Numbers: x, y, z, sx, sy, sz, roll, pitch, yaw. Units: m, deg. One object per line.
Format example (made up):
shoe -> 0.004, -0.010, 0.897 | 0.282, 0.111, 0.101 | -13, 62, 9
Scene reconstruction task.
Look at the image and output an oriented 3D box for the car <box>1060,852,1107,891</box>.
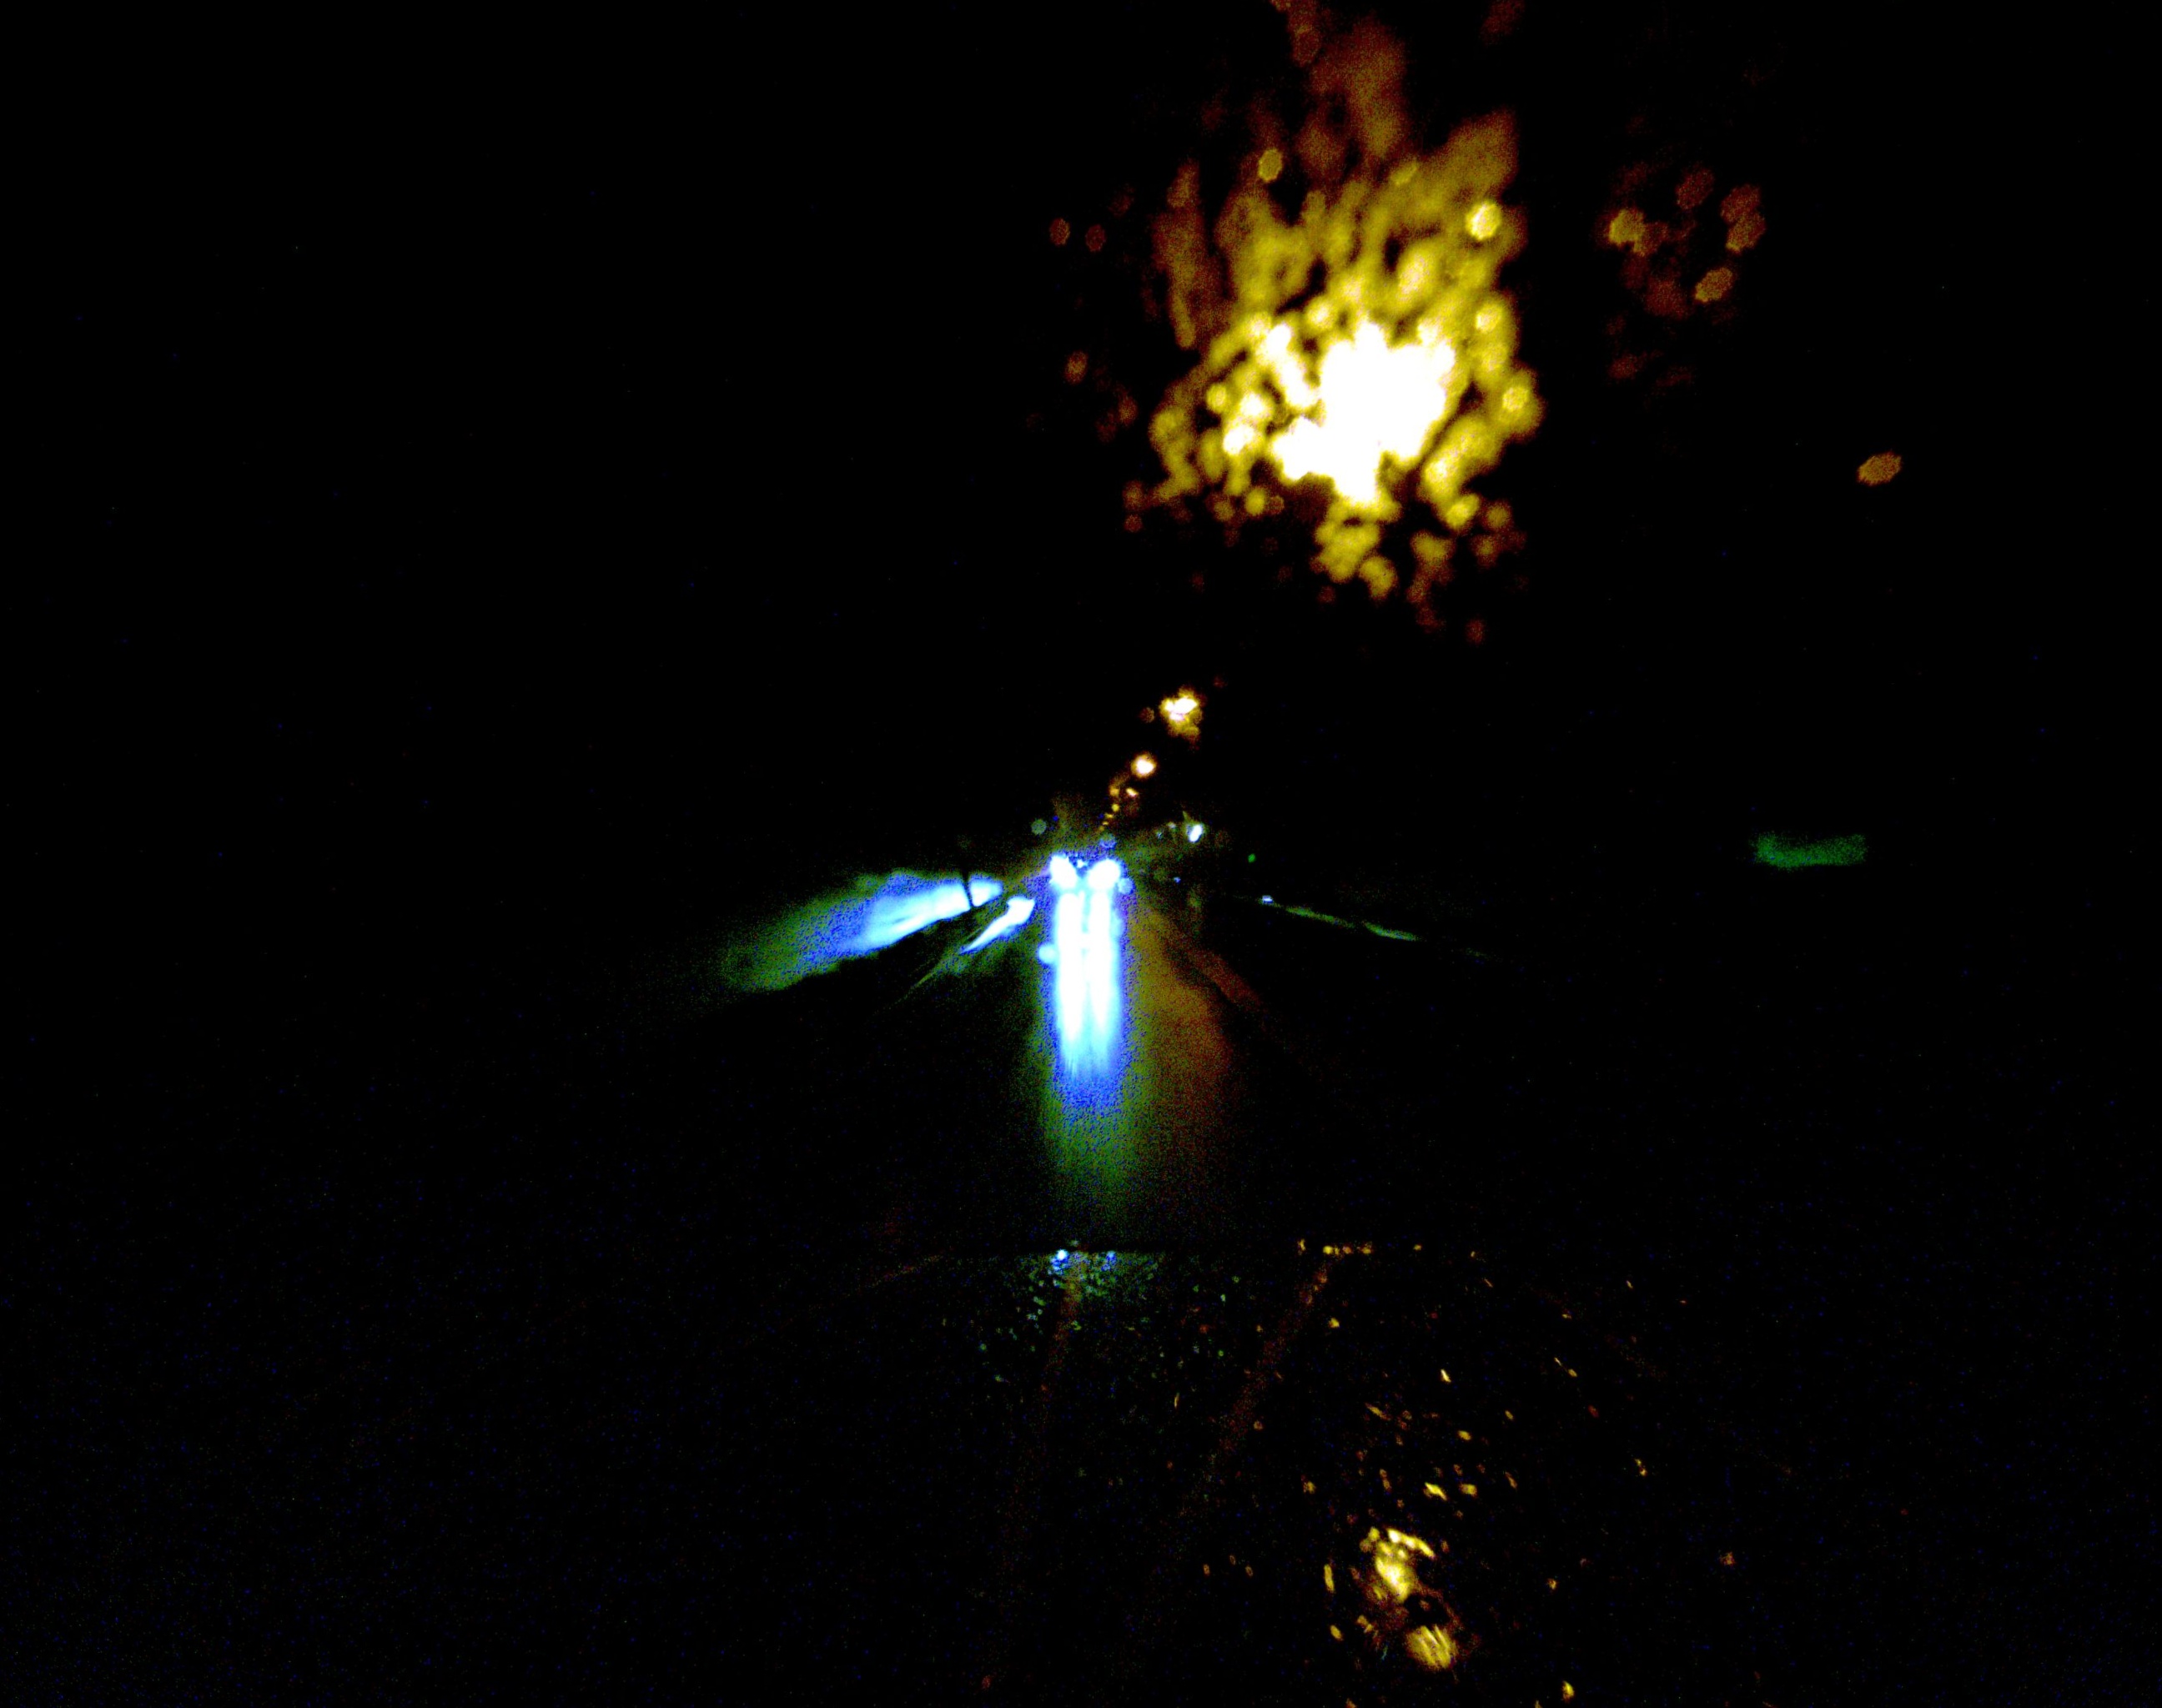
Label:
car -> 0.104, 0.776, 35.671 | 1.999, 1.547, 3.999 | -3, 2, 0
